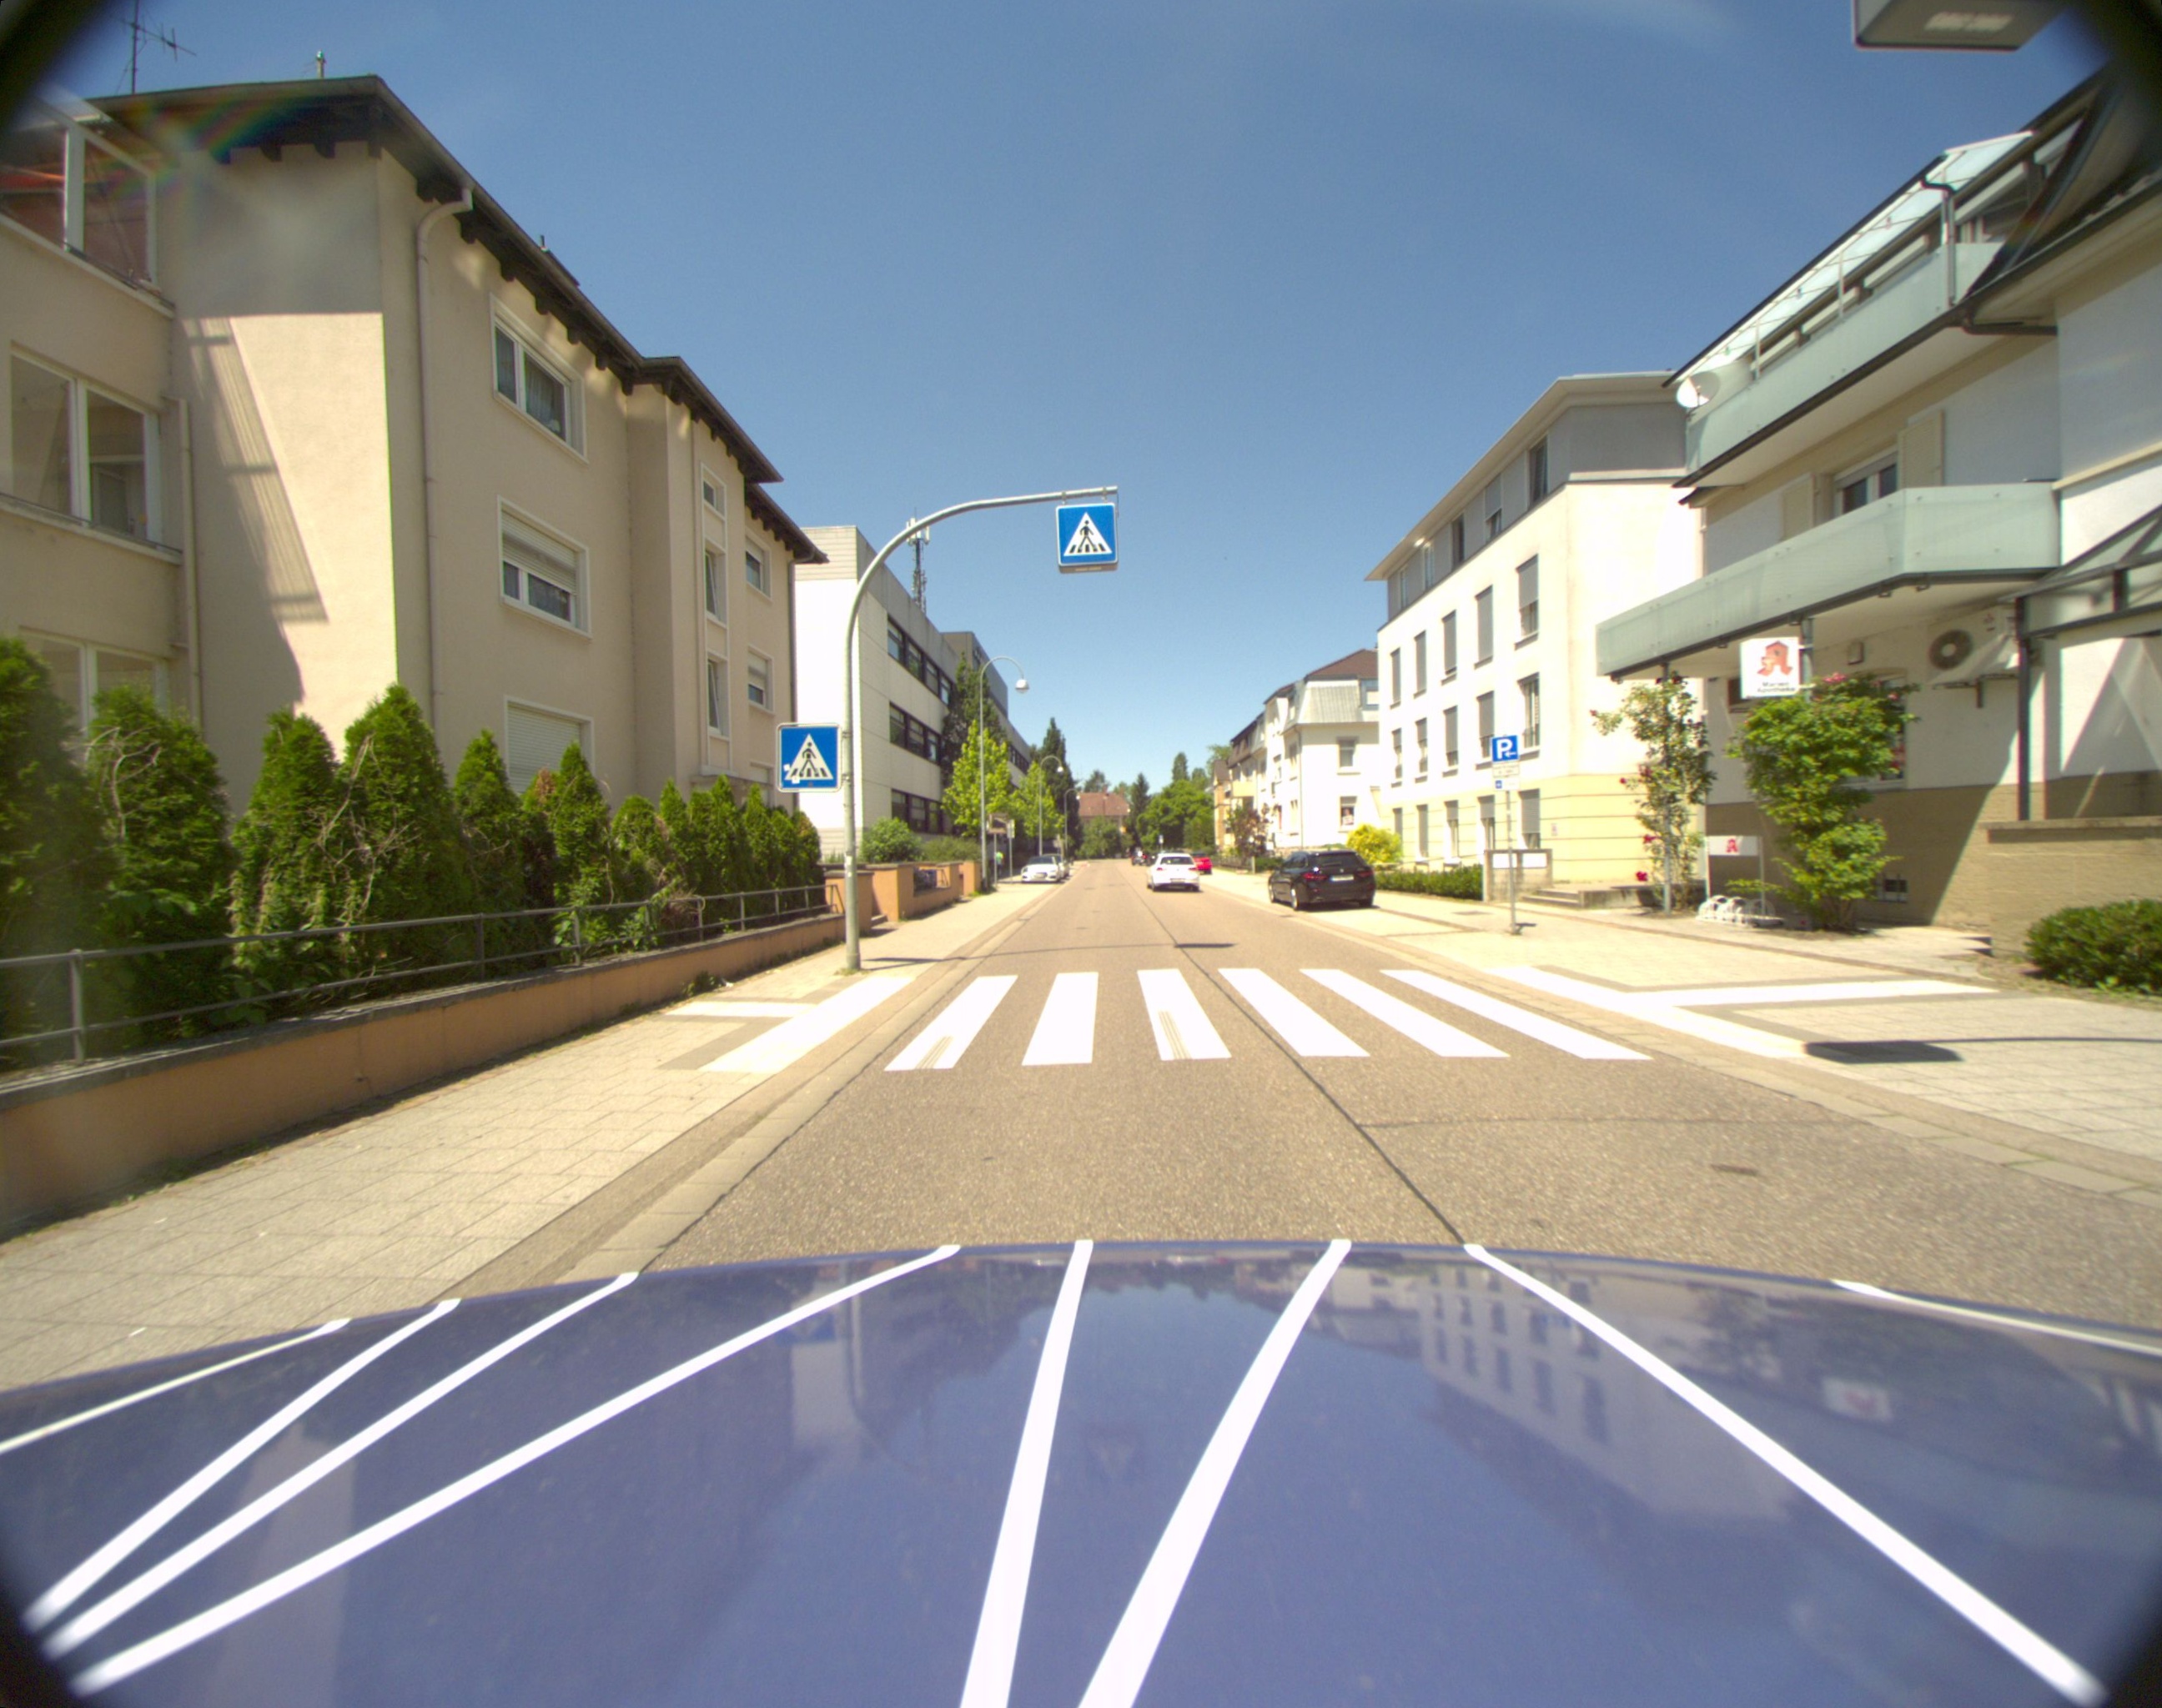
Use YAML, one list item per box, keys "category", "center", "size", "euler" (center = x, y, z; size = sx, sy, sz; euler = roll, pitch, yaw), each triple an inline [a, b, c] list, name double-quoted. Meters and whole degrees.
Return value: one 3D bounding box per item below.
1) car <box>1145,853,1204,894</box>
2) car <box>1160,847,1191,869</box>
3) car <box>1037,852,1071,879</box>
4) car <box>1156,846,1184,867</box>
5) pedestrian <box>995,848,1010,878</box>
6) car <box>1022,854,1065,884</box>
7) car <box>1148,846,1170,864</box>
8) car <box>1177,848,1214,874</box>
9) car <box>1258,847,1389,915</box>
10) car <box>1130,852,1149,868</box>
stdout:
- category: "car"
  center: [3.567, 0.717, 29.662]
  size: [1.812, 1.474, 3.868]
  euler: [0, 1, 0]
- category: "car"
  center: [7.248, 0.276, 58.901]
  size: [1.925, 1.577, 4.436]
  euler: [-4, 0, 2]
- category: "car"
  center: [-1.578, 0.664, 45.607]
  size: [1.714, 1.489, 3.877]
  euler: [0, 1, 2]
- category: "car"
  center: [7.503, 0.209, 64.412]
  size: [1.925, 1.577, 4.287]
  euler: [-4, 0, 2]
- category: "pedestrian"
  center: [-4.494, 0.529, 43.492]
  size: [0.680, 1.690, 1.050]
  euler: [0, 1, 2]
- category: "car"
  center: [-1.927, 0.741, 40.407]
  size: [1.920, 1.460, 4.880]
  euler: [0, 0, 2]
- category: "car"
  center: [8.084, 0.089, 78.792]
  size: [1.924, 1.681, 4.288]
  euler: [-4, 0, 3]
- category: "car"
  center: [7.136, 0.424, 47.603]
  size: [1.736, 1.444, 4.260]
  euler: [-4, 0, 2]
- category: "car"
  center: [6.180, 0.607, 20.090]
  size: [1.921, 1.444, 5.149]
  euler: [-4, 0, 2]
- category: "car"
  center: [6.543, 0.696, 85.746]
  size: [1.925, 1.668, 4.287]
  euler: [-1, 1, 2]
